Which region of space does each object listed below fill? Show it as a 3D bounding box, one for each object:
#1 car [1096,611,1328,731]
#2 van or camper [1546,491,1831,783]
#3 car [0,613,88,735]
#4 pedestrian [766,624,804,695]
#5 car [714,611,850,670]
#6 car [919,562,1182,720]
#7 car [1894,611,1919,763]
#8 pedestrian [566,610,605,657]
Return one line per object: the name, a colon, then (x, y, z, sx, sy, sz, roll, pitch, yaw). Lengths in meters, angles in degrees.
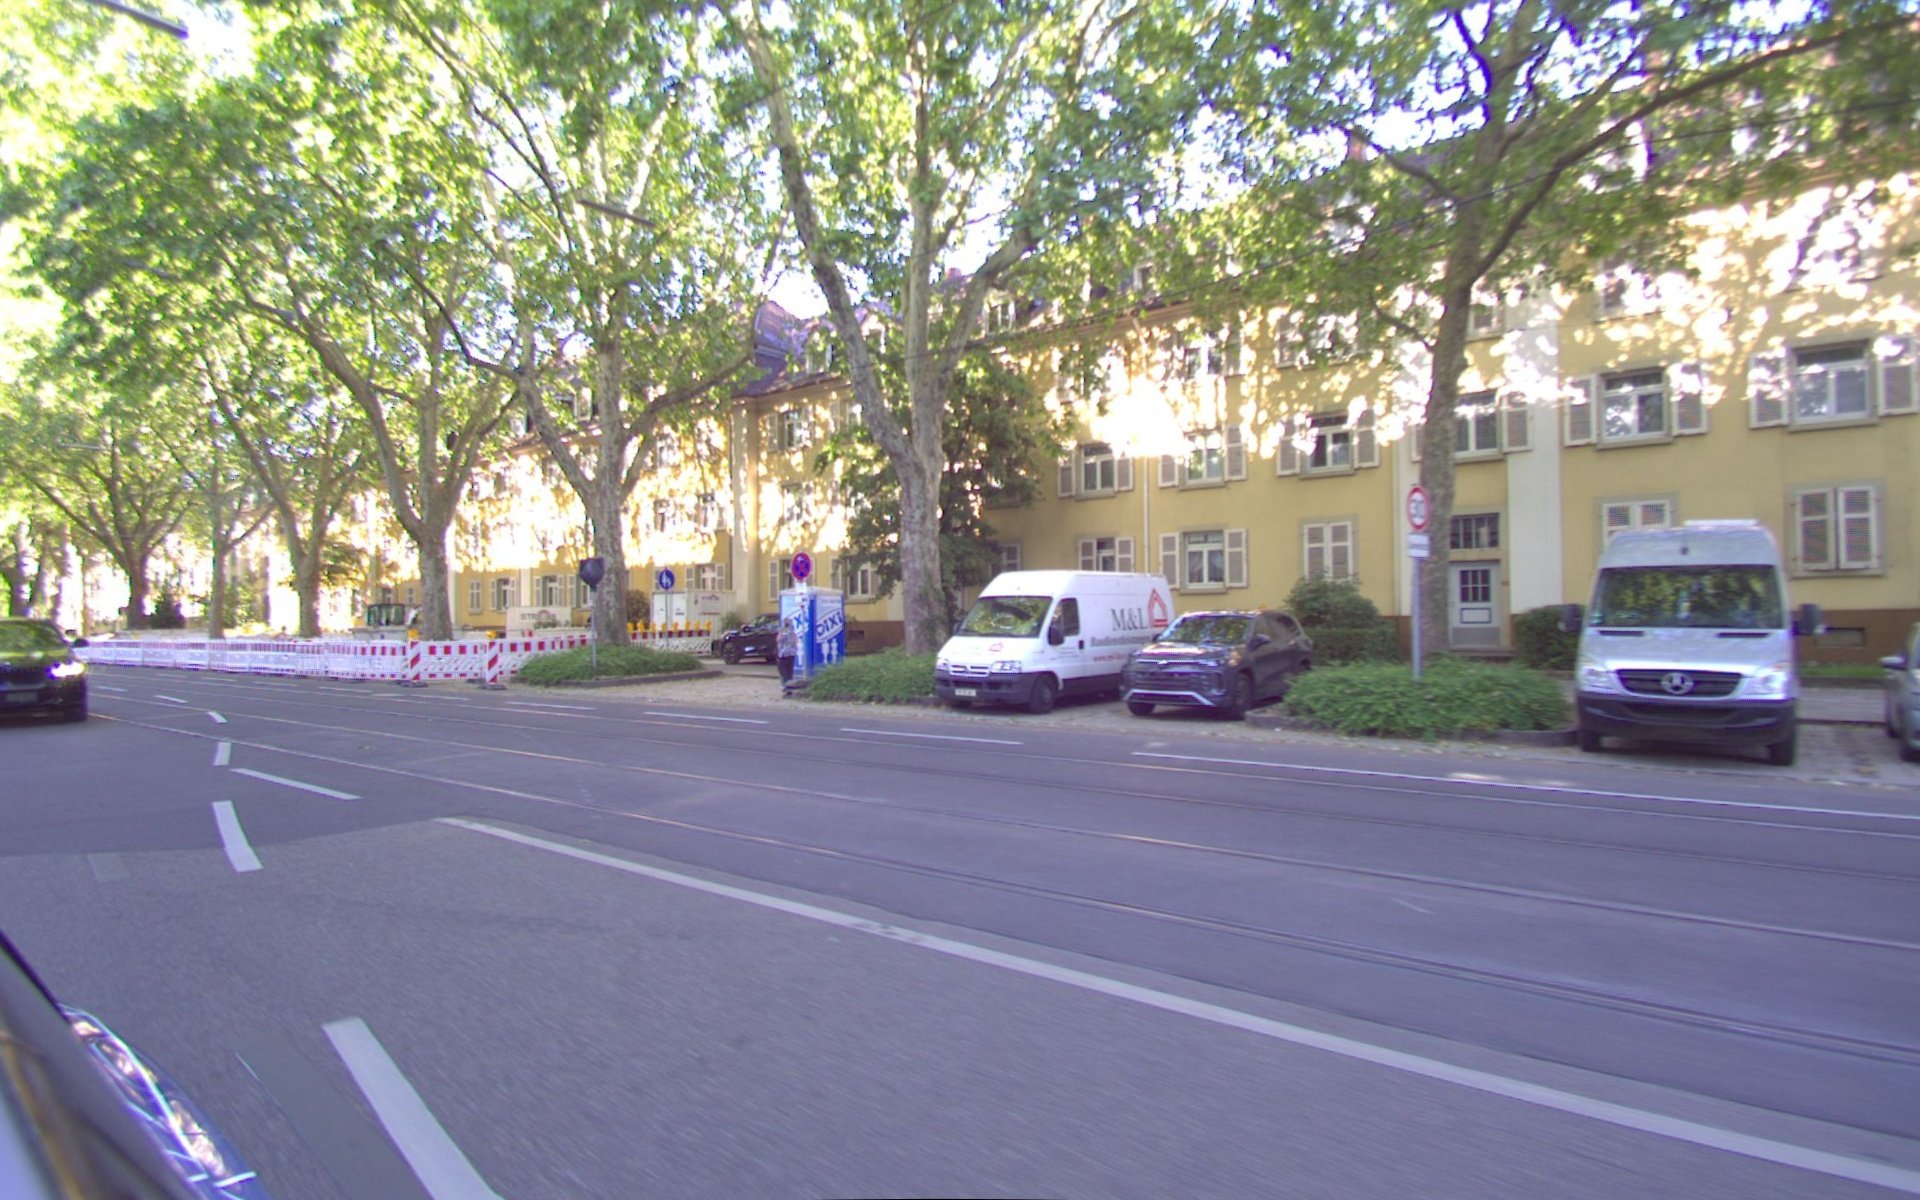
car: (4.188, 1.021, 16.267, 1.967, 1.643, 4.520, -2, -2, 37)
van or camper: (8.981, 0.359, 12.414, 2.226, 2.697, 6.052, -2, -1, 38)
car: (-15.646, 1.146, 16.375, 4.476, 1.756, 1.916, -2, -1, 44)
pedestrian: (-3.960, 1.329, 22.899, 0.709, 1.585, 0.595, -1, -2, 8)
car: (-5.485, 1.220, 30.959, 4.218, 1.613, 1.806, -2, 0, 41)
car: (1.825, 0.695, 18.175, 2.023, 2.394, 5.543, -2, -2, 38)
car: (11.341, 0.904, 10.841, 1.729, 1.481, 4.103, 0, 1, 40)
pedestrian: (-16.480, 1.487, 44.554, 1.233, 2.029, 1.085, -2, -2, 36)
